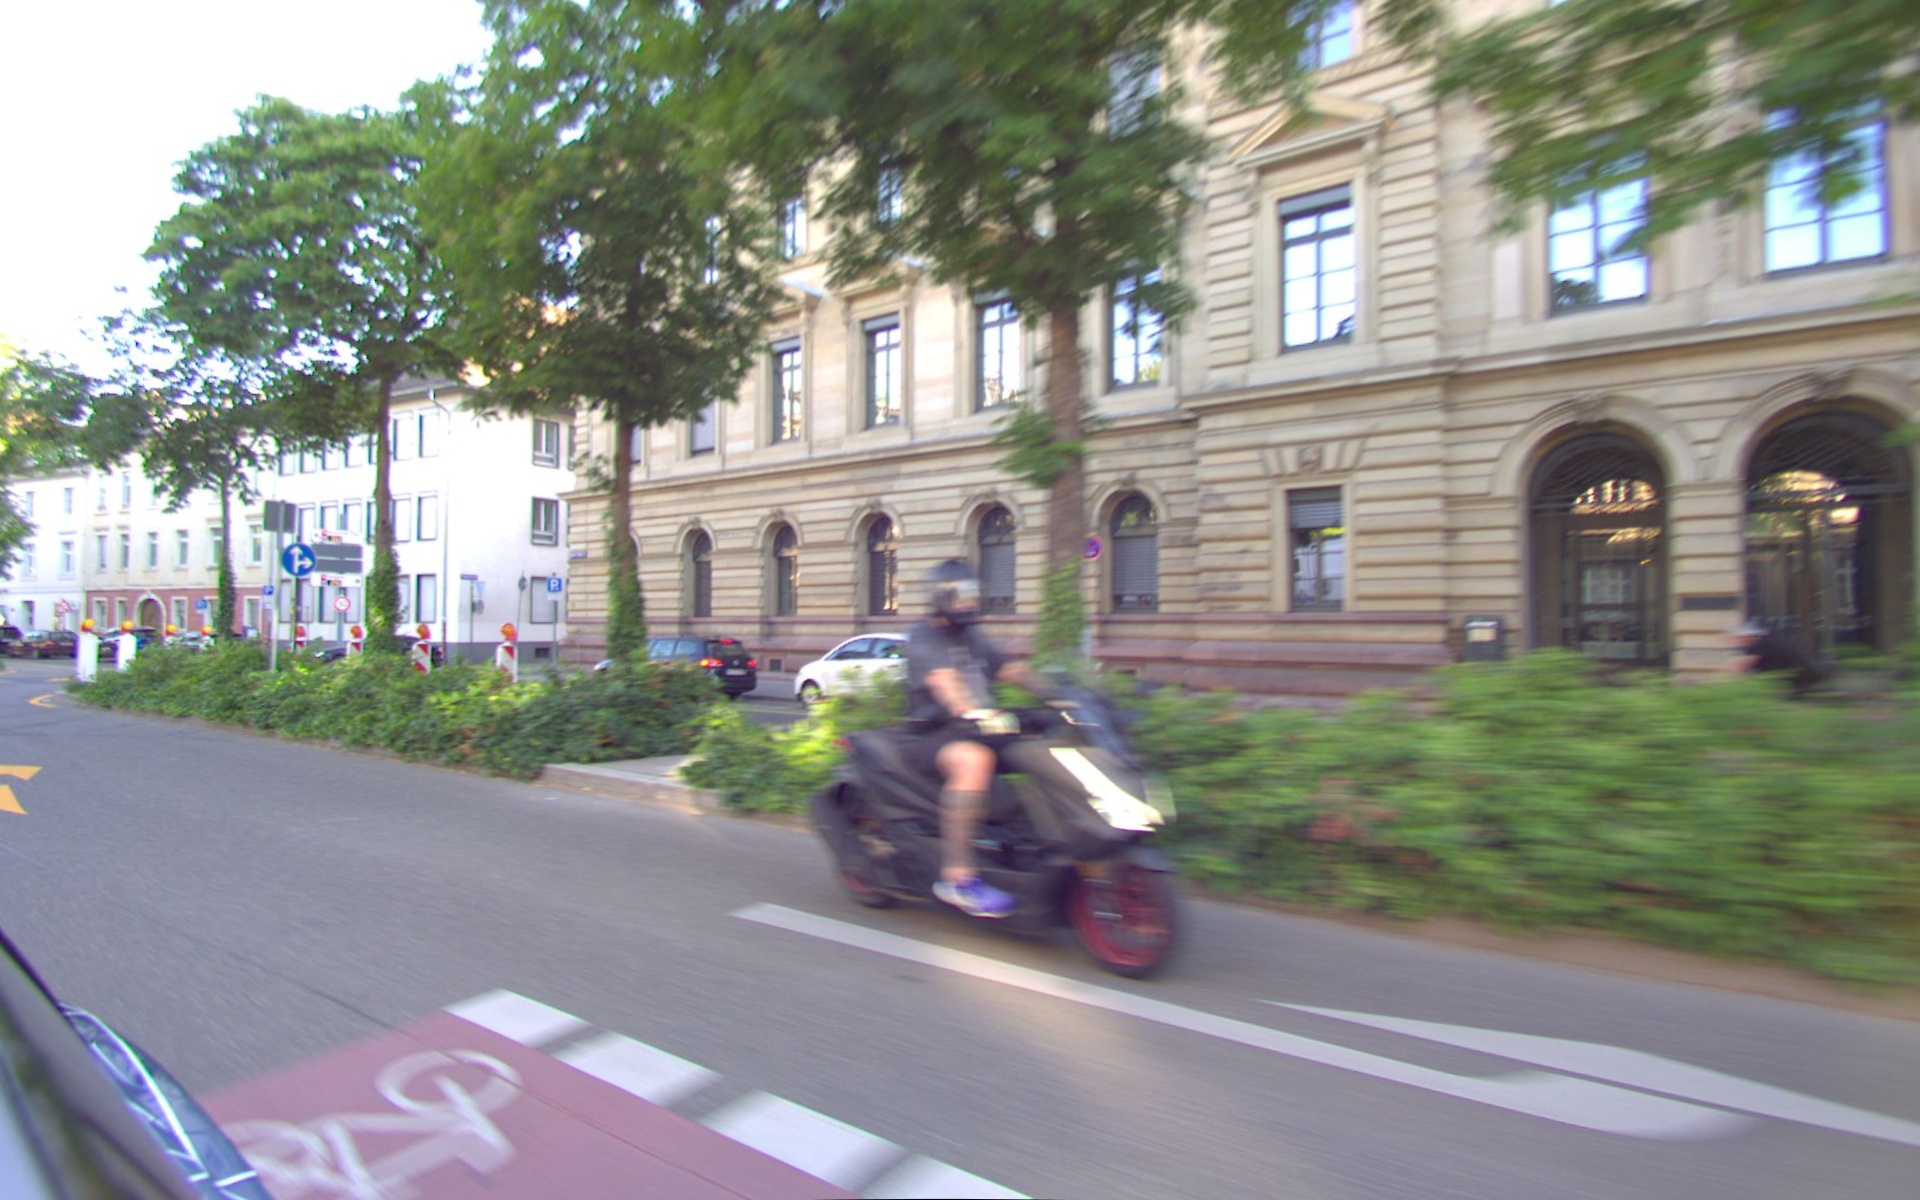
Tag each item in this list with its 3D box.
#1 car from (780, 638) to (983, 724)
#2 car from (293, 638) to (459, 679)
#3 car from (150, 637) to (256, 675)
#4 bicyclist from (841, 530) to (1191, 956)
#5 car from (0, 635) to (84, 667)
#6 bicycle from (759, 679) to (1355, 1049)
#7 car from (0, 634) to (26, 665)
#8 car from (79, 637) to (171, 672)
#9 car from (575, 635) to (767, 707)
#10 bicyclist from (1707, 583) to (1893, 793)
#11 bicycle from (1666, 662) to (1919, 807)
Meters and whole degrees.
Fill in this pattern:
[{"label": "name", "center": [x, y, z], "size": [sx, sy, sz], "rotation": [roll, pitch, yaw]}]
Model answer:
[{"label": "car", "center": [-1.584, 1.514, 19.758], "size": [3.840, 1.519, 1.652], "rotation": [-2, -3, 37]}, {"label": "car", "center": [-20.380, 2.027, 35.494], "size": [1.765, 1.333, 4.711], "rotation": [-2, -3, 40]}, {"label": "car", "center": [-32.533, 2.380, 43.475], "size": [4.766, 1.519, 1.863], "rotation": [-1, -2, 29]}, {"label": "bicyclist", "center": [0.236, 0.525, 4.373], "size": [1.229, 1.535, 0.859], "rotation": [-1, -1, 37]}, {"label": "car", "center": [-46.280, 2.535, 50.888], "size": [4.168, 1.499, 1.758], "rotation": [-1, -1, 24]}, {"label": "bicycle", "center": [0.290, 0.925, 4.317], "size": [2.450, 1.050, 0.862], "rotation": [-1, -1, 38]}, {"label": "car", "center": [-51.276, 2.575, 53.052], "size": [4.363, 1.583, 1.804], "rotation": [-1, -3, 24]}, {"label": "car", "center": [-38.683, 2.497, 46.874], "size": [4.134, 1.583, 1.790], "rotation": [-1, -3, 27]}, {"label": "car", "center": [-6.773, 1.613, 23.529], "size": [4.636, 1.519, 1.861], "rotation": [-2, -5, 38]}, {"label": "bicyclist", "center": [7.963, 0.819, 9.676], "size": [1.284, 1.848, 0.872], "rotation": [-1, -6, 38]}, {"label": "bicycle", "center": [8.021, 1.234, 9.563], "size": [2.172, 1.203, 0.872], "rotation": [-1, -6, 38]}]
